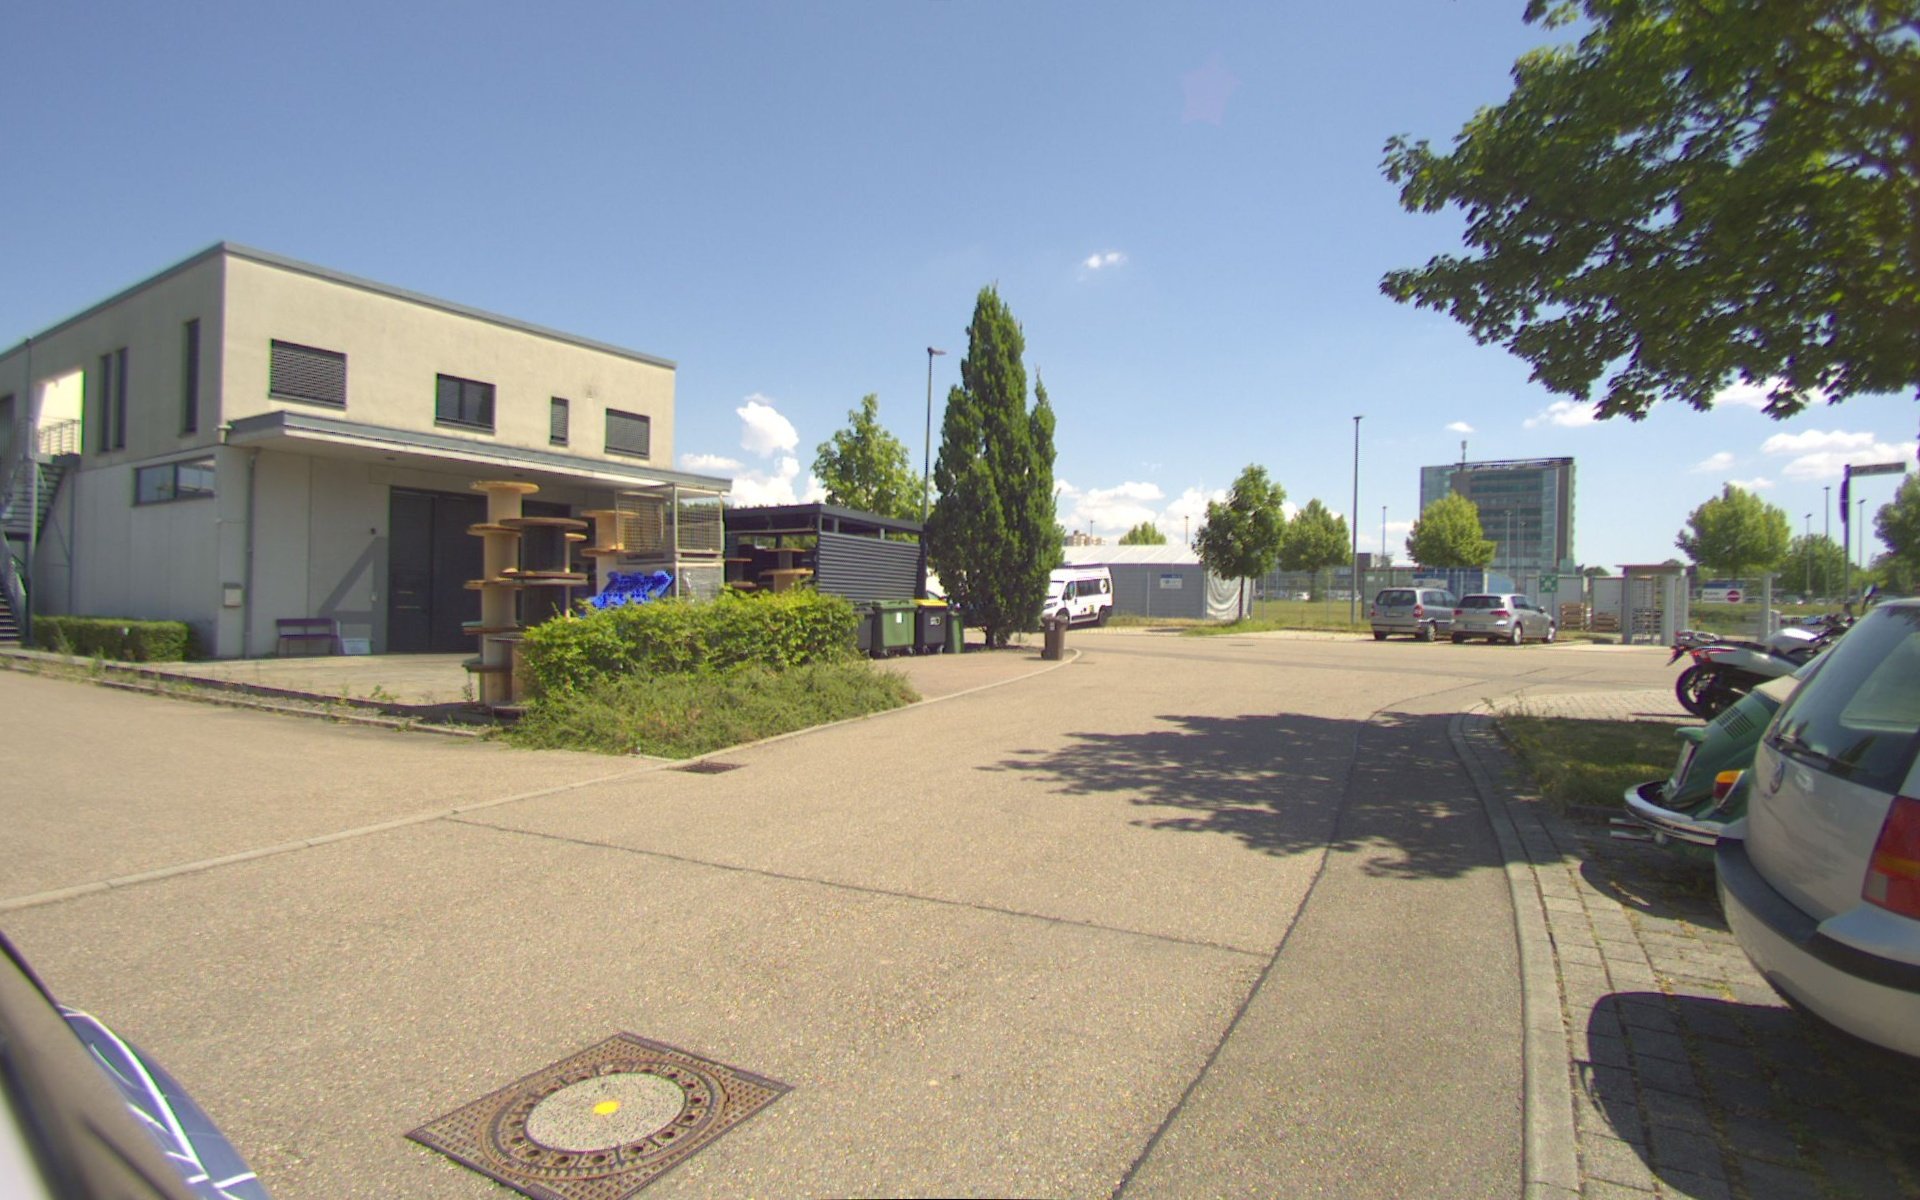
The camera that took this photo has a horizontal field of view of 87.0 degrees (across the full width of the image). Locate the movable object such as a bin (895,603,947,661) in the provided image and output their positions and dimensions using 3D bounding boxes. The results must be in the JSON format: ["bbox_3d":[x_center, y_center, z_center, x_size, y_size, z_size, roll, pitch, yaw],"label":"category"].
[{"bbox_3d":[-0.937,0.760,24.445,0.759,1.346,1.059,0,0,40],"label":"movable object such as a bin"}]

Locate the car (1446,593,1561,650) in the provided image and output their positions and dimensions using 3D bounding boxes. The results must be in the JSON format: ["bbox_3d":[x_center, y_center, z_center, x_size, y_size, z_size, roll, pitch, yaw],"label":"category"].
[{"bbox_3d":[15.701,0.561,29.179,3.938,1.533,1.655,0,0,-41],"label":"car"}]

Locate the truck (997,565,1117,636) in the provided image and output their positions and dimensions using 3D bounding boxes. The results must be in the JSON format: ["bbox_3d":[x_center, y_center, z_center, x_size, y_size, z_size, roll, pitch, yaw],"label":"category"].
[{"bbox_3d":[4.042,0.009,41.208,2.413,2.692,5.630,0,0,35],"label":"truck"}]

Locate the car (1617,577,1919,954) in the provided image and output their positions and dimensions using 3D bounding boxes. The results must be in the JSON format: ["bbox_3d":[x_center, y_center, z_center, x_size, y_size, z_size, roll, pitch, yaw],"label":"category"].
[{"bbox_3d":[5.088,0.641,4.129,3.873,1.459,1.637,0,0,28],"label":"car"}]

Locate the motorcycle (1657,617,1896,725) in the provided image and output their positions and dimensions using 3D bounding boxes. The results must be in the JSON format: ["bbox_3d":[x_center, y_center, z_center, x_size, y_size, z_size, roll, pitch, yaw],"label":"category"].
[{"bbox_3d":[8.947,0.746,11.183,1.980,1.117,0.480,-1,0,27],"label":"motorcycle"}]

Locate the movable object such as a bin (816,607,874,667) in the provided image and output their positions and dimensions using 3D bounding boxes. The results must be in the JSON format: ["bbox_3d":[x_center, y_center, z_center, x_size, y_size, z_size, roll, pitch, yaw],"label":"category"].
[{"bbox_3d":[-2.555,0.809,22.459,0.759,1.280,1.059,0,0,40],"label":"movable object such as a bin"}]

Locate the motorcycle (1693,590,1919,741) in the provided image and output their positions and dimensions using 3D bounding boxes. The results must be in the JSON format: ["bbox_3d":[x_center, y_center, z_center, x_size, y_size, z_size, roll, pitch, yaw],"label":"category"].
[{"bbox_3d":[8.420,0.610,9.870,1.980,1.400,0.480,-1,0,27],"label":"motorcycle"}]

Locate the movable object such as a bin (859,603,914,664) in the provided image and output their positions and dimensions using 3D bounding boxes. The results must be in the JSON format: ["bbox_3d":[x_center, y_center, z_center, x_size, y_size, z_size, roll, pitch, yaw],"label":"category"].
[{"bbox_3d":[-1.696,0.758,23.343,0.759,1.346,1.059,0,0,40],"label":"movable object such as a bin"}]

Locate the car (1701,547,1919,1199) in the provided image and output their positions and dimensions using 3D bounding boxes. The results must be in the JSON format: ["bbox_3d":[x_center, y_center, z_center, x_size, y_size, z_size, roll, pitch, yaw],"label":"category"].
[{"bbox_3d":[3.980,0.636,1.960,3.873,1.490,1.637,0,0,28],"label":"car"}]

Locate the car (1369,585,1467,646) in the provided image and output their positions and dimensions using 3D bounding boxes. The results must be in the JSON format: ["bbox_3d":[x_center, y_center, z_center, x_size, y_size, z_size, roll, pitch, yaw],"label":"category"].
[{"bbox_3d":[14.143,0.443,31.146,1.771,1.751,3.946,0,0,40],"label":"car"}]

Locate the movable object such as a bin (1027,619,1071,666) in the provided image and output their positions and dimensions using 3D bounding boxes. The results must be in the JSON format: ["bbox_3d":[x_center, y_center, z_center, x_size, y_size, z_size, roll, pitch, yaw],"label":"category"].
[{"bbox_3d":[1.925,0.916,21.953,0.759,0.977,0.582,0,0,40],"label":"movable object such as a bin"}]

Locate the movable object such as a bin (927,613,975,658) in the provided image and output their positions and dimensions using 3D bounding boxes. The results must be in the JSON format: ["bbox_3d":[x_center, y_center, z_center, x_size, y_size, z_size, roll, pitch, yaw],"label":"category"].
[{"bbox_3d":[-0.221,0.875,25.271,0.759,1.092,0.975,0,0,40],"label":"movable object such as a bin"}]
